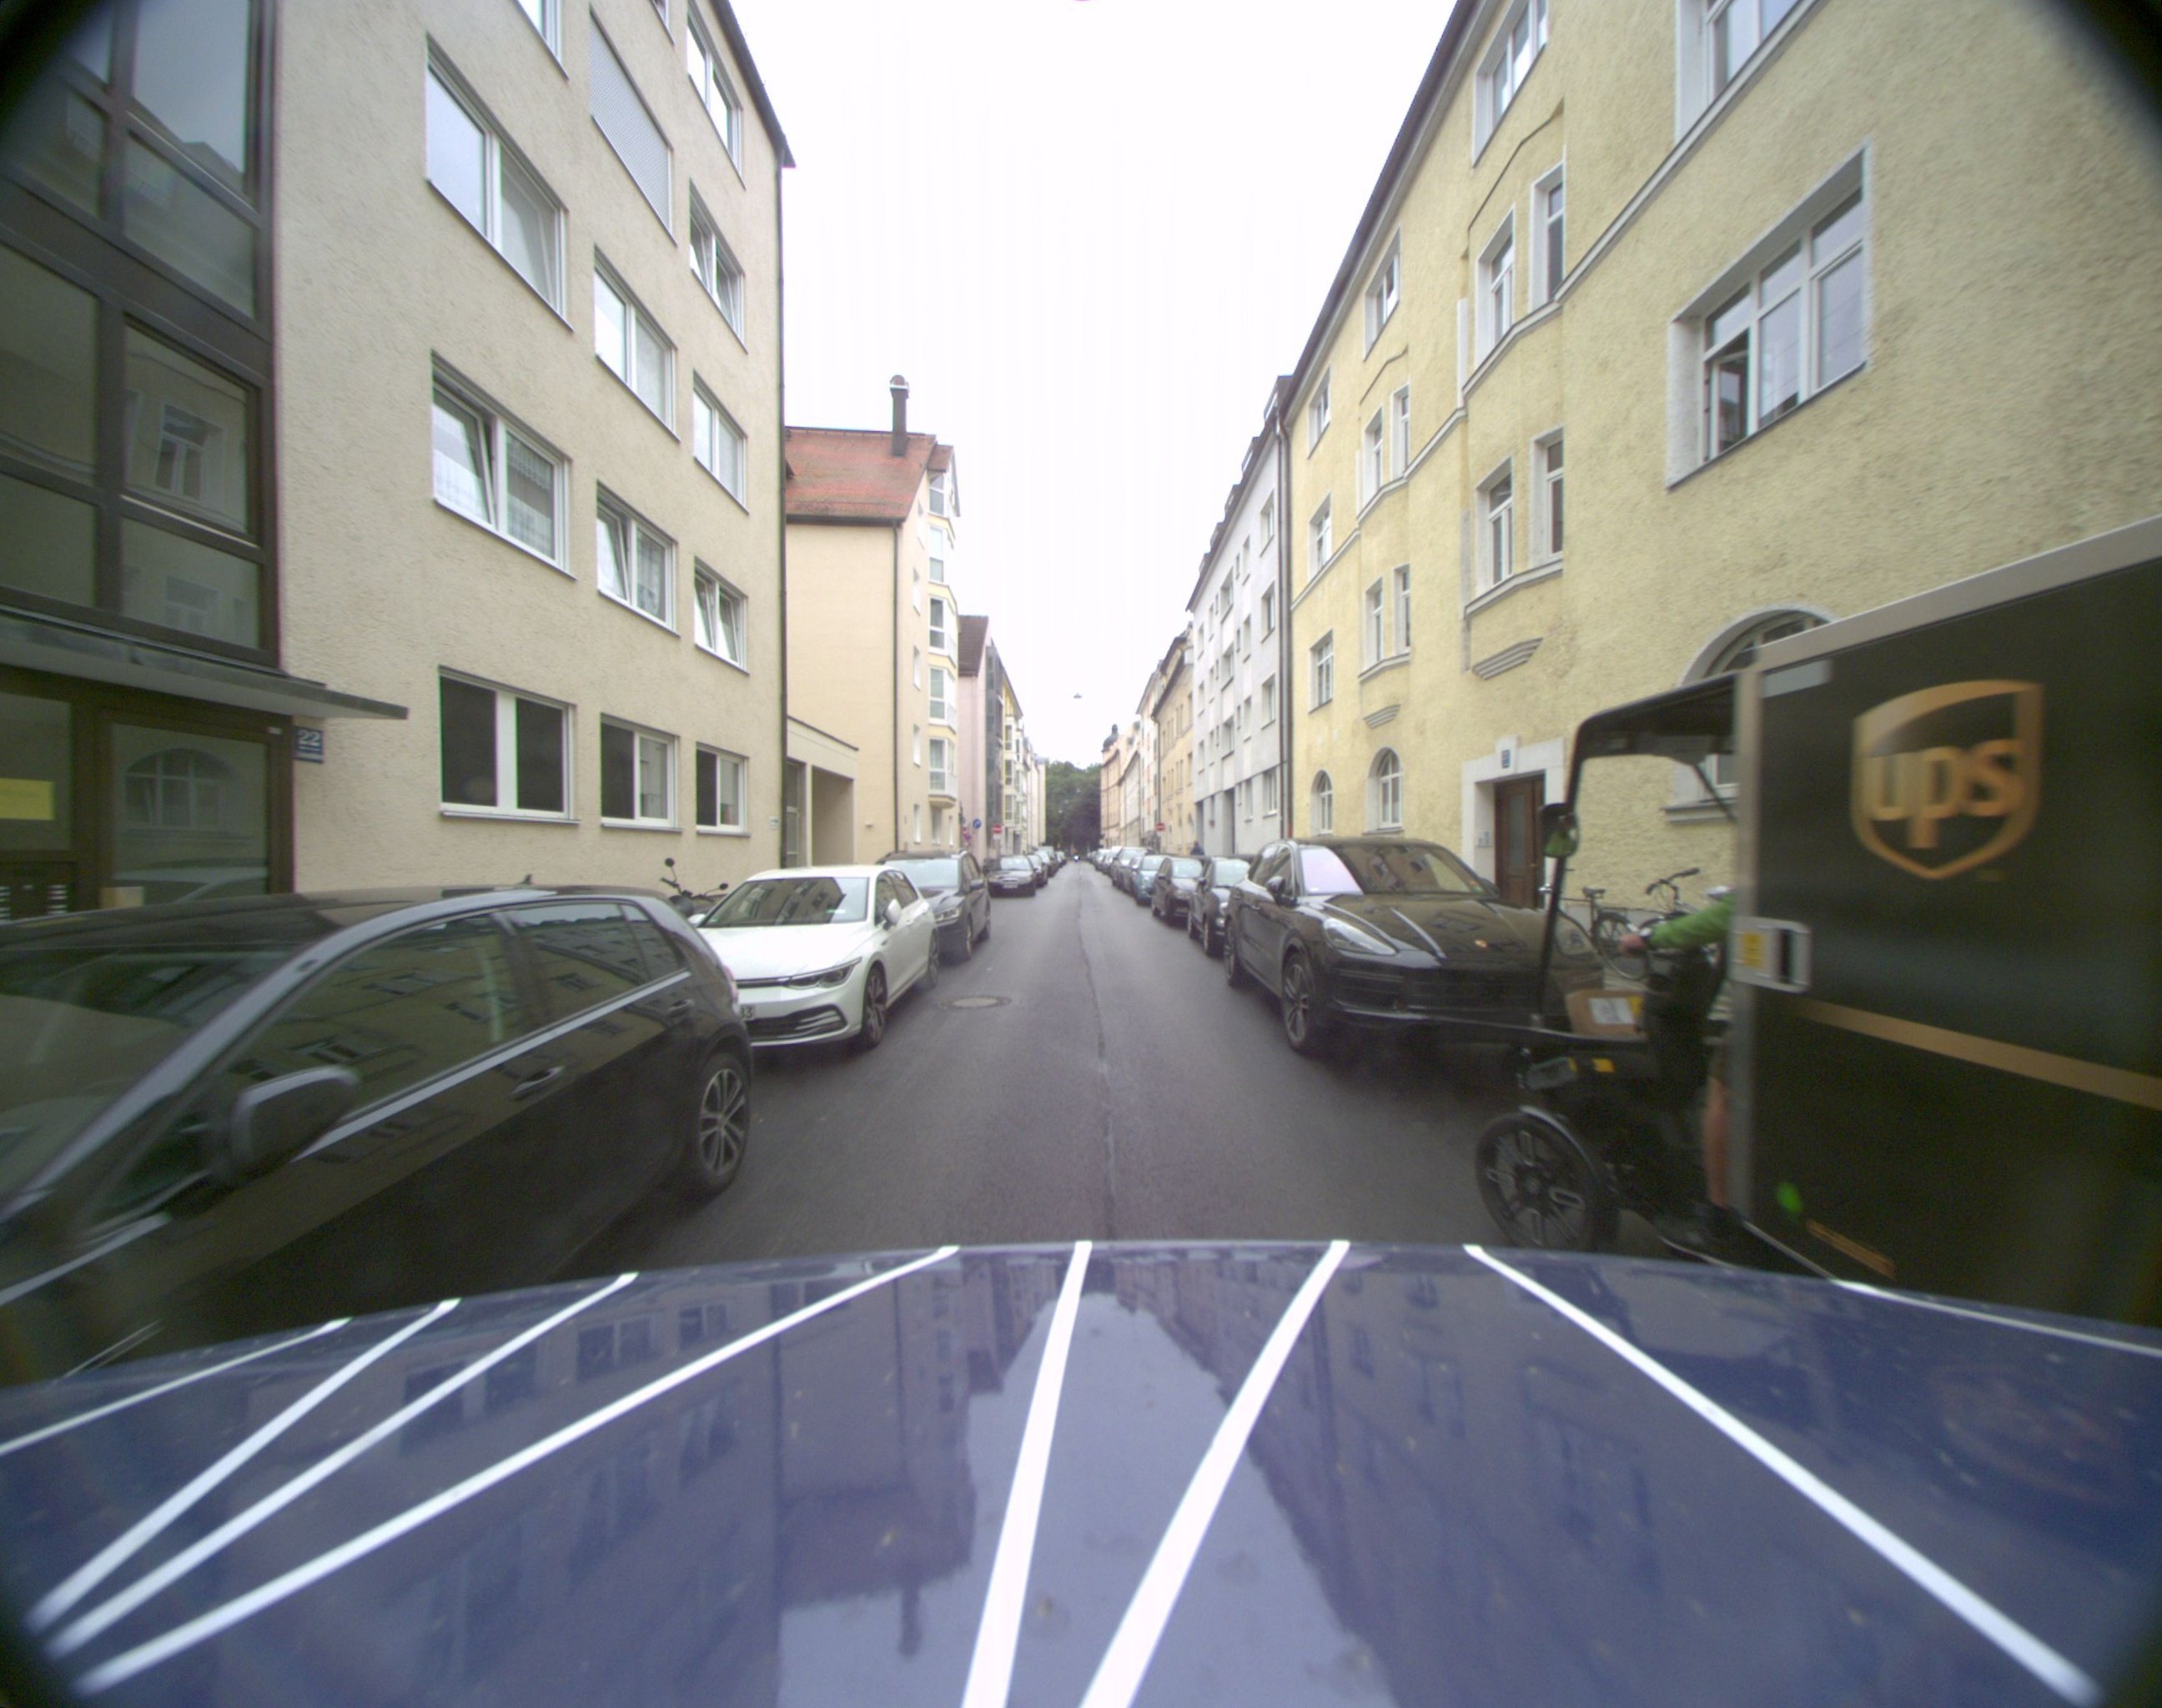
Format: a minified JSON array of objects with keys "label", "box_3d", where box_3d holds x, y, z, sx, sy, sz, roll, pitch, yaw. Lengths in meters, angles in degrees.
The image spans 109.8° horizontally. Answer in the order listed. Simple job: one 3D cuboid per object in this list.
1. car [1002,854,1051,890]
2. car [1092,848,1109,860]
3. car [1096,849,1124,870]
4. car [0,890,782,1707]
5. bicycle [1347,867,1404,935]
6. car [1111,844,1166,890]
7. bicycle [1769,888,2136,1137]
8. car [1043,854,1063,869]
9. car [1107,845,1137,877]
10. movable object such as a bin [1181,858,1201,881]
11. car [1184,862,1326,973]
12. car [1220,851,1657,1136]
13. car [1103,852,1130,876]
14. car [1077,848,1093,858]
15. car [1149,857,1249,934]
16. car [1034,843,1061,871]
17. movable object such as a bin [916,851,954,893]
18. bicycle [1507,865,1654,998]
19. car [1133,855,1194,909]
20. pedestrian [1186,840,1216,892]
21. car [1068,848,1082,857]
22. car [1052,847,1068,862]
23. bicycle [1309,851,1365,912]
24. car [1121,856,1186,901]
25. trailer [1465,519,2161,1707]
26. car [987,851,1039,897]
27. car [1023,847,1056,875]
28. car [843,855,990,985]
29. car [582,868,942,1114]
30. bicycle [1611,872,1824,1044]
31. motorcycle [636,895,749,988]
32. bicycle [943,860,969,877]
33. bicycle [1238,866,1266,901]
[{"label":"car","box_3d":[-2.342,0.748,33.861,1.837,1.398,4.410,-2,1,0]},{"label":"car","box_3d":[2.397,0.022,95.651,1.951,1.470,3.715,2,1,0]},{"label":"car","box_3d":[2.307,0.399,61.555,1.786,1.596,4.306,1,0,-3]},{"label":"car","box_3d":[-2.426,0.983,1.938,1.716,1.477,4.242,-2,1,-2]},{"label":"bicycle","box_3d":[5.646,0.862,14.643,0.440,1.183,1.632,-1,1,-1]},{"label":"car","box_3d":[2.400,0.488,32.798,1.868,1.760,4.734,1,1,-1]},{"label":"bicycle","box_3d":[5.559,0.916,5.003,0.595,1.271,1.551,-3,1,-1]},{"label":"car","box_3d":[-2.850,0.742,76.353,1.750,1.433,4.227,-2,1,-4]},{"label":"car","box_3d":[2.491,0.390,46.848,1.728,1.779,4.248,2,2,2]},{"label":"movable object such as a bin","box_3d":[5.412,0.755,37.280,0.809,1.045,0.622,-4,1,0]},{"label":"car","box_3d":[2.614,0.887,12.162,1.566,1.452,3.475,0,1,2]},{"label":"car","box_3d":[2.514,0.822,6.724,1.884,1.650,4.414,0,1,2]},{"label":"car","box_3d":[2.393,0.657,51.825,1.676,1.467,4.111,1,1,1]},{"label":"car","box_3d":[0.675,-0.161,129.689,1.801,1.501,3.995,1,1,-11]},{"label":"car","box_3d":[2.503,0.831,16.913,1.567,1.452,3.763,0,1,-1]},{"label":"car","box_3d":[-2.485,0.174,57.867,1.878,2.002,5.105,-2,1,-1]},{"label":"movable object such as a bin","box_3d":[-5.191,0.607,27.117,1.035,1.415,1.586,1,1,0]},{"label":"bicycle","box_3d":[5.429,0.788,8.376,0.536,1.271,1.551,-3,1,-1]},{"label":"car","box_3d":[2.428,0.789,22.907,1.566,1.452,3.404,0,1,2]},{"label":"pedestrian","box_3d":[4.104,0.399,26.011,0.841,1.754,1.067,-1,1,0]},{"label":"car","box_3d":[-1.039,-0.277,137.963,1.801,1.501,3.995,1,1,-11]},{"label":"car","box_3d":[-2.507,0.049,90.998,1.739,1.743,3.685,-2,1,-1]},{"label":"bicycle","box_3d":[5.492,0.563,16.386,0.594,1.227,1.736,-1,1,-1]},{"label":"car","box_3d":[2.553,0.829,27.677,1.816,1.378,4.249,1,1,-1]},{"label":"trailer","box_3d":[2.093,0.625,1.543,1.358,2.104,3.319,-1,1,8]},{"label":"car","box_3d":[-2.452,0.679,28.307,1.721,1.463,4.529,-2,1,-3]},{"label":"car","box_3d":[-2.557,0.396,47.533,1.837,1.612,4.410,-2,1,-1]},{"label":"car","box_3d":[-2.428,0.878,12.214,1.716,1.599,4.241,-2,1,-5]},{"label":"car","box_3d":[-2.527,0.961,7.249,1.716,1.477,4.242,-2,1,-2]},{"label":"bicycle","box_3d":[5.533,0.833,6.731,0.536,1.271,1.551,-3,1,-1]},{"label":"motorcycle","box_3d":[-5.024,1.093,9.962,0.483,0.962,1.911,3,1,-1]},{"label":"bicycle","box_3d":[-7.150,0.810,43.470,1.452,0.942,0.552,-1,1,-5]},{"label":"bicycle","box_3d":[5.468,0.920,24.351,0.546,1.025,1.570,-1,1,0]}]
